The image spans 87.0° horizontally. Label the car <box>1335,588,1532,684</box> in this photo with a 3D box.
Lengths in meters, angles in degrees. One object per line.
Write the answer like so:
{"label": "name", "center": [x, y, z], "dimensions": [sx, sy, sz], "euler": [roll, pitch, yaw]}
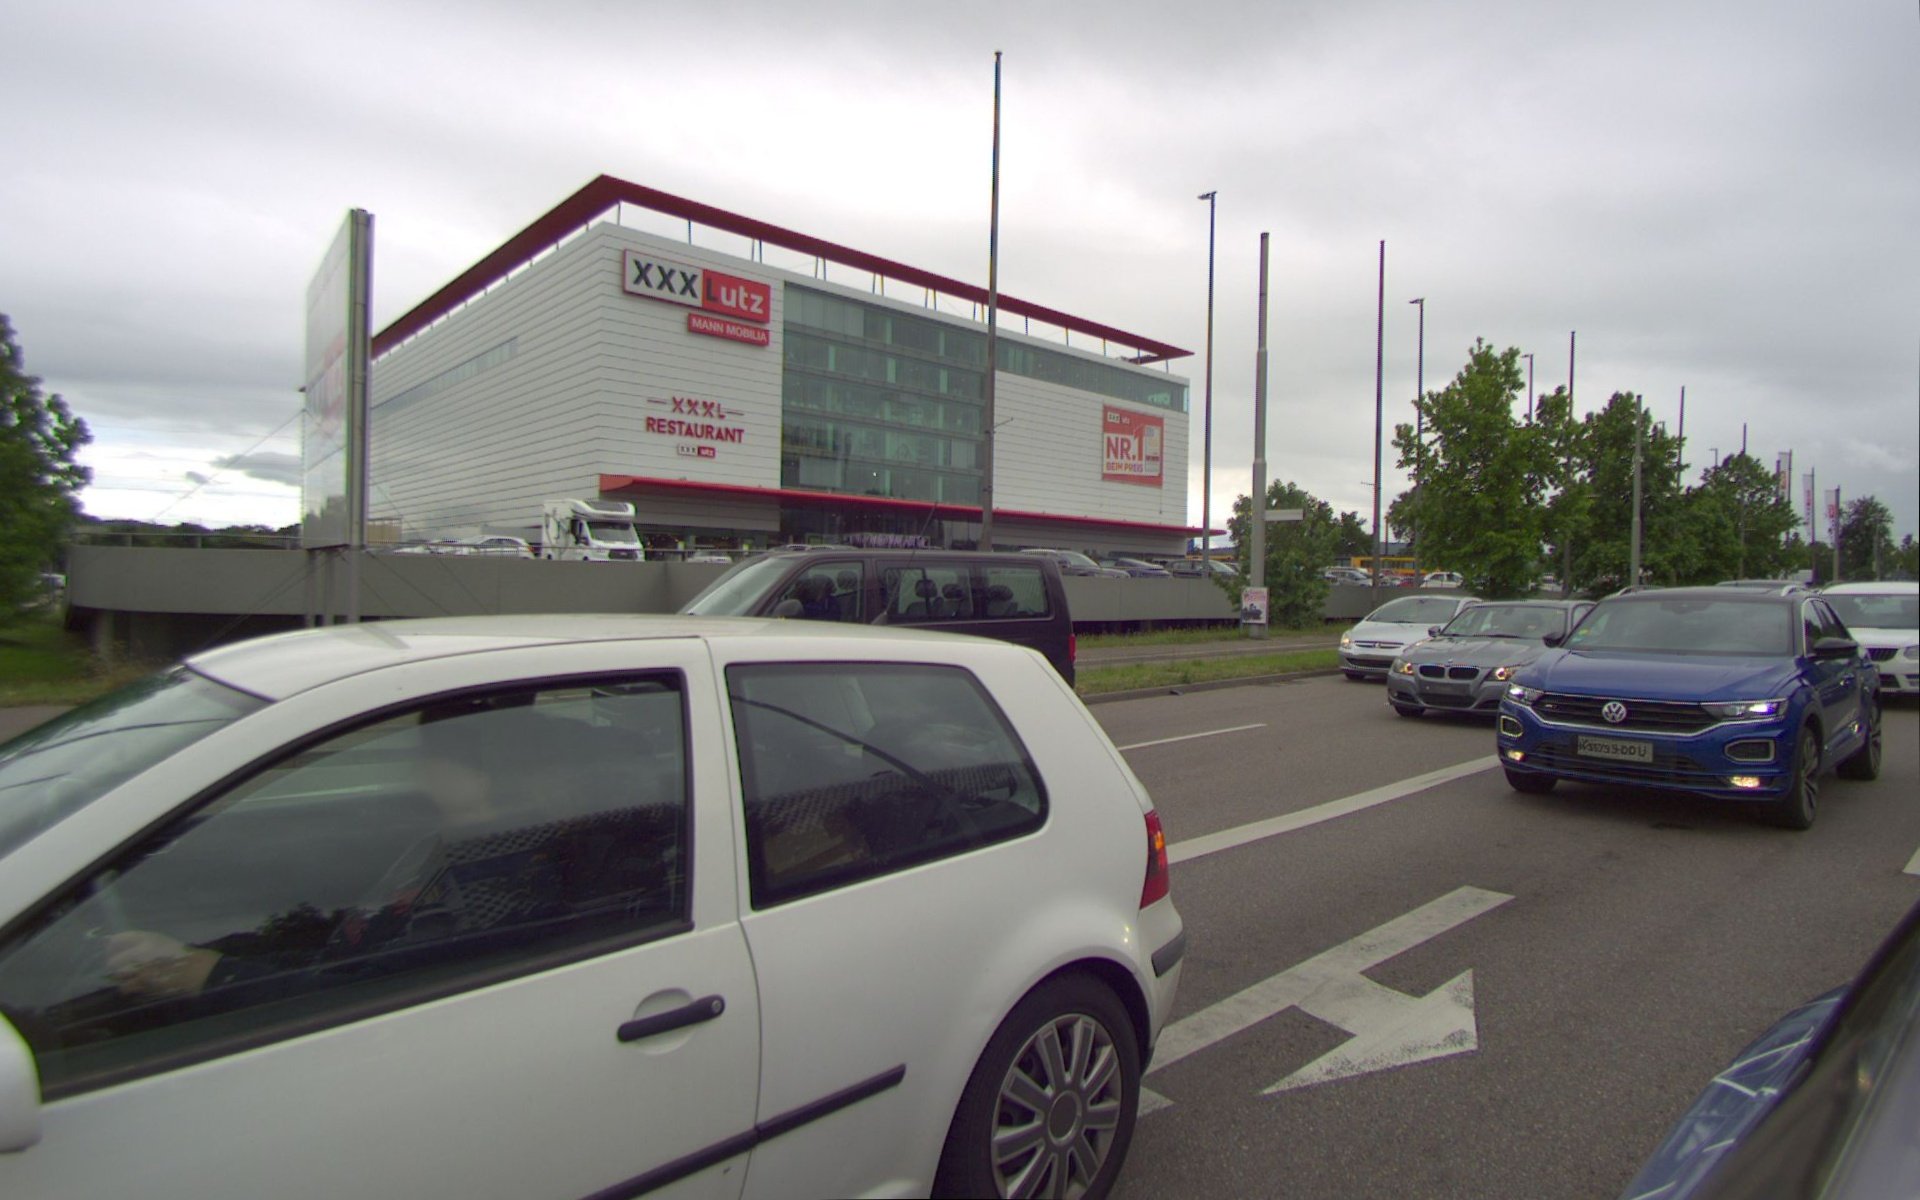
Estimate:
{"label": "car", "center": [8.068, 0.527, 17.104], "dimensions": [3.861, 1.389, 1.691], "euler": [-2, 1, -43]}

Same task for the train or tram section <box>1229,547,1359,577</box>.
{"label": "train or tram section", "center": [59.313, -6.723, 181.318], "dimensions": [3.573, 4.899, 23.227], "euler": [-1, 1, -44]}

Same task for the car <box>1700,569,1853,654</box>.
{"label": "car", "center": [17.712, 0.190, 21.889], "dimensions": [4.298, 1.645, 1.797], "euler": [-2, 0, -40]}

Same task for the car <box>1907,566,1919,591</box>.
{"label": "car", "center": [88.115, -1.935, 92.592], "dimensions": [3.934, 2.270, 1.995], "euler": [0, 1, -44]}

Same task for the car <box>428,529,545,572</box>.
{"label": "car", "center": [-20.084, -2.062, 43.021], "dimensions": [4.186, 1.697, 1.774], "euler": [-2, 0, -41]}

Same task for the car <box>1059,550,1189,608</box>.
{"label": "car", "center": [5.554, -0.680, 34.560], "dimensions": [1.967, 1.872, 3.990], "euler": [-1, 0, -43]}

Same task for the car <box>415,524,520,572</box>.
{"label": "car", "center": [-22.281, -2.320, 45.846], "dimensions": [3.929, 2.039, 1.997], "euler": [-2, 0, -40]}

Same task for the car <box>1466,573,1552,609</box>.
{"label": "car", "center": [32.226, -0.504, 59.501], "dimensions": [1.966, 2.039, 3.993], "euler": [-1, 0, -41]}

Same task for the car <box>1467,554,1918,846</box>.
{"label": "car", "center": [5.783, 0.520, 7.779], "dimensions": [4.256, 1.642, 1.845], "euler": [-2, 0, -40]}

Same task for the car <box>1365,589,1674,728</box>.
{"label": "car", "center": [7.138, 0.627, 12.691], "dimensions": [4.790, 1.429, 1.815], "euler": [1, -1, -40]}

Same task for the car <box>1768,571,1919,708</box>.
{"label": "car", "center": [12.861, 0.438, 14.025], "dimensions": [4.298, 1.645, 1.797], "euler": [-2, 0, -40]}

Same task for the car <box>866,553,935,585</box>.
{"label": "car", "center": [-3.554, -1.815, 60.210], "dimensions": [1.967, 1.761, 3.990], "euler": [-1, 0, -43]}

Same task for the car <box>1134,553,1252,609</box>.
{"label": "car", "center": [8.856, -0.702, 38.690], "dimensions": [1.967, 2.039, 3.991], "euler": [-1, 0, -43]}

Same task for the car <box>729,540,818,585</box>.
{"label": "car", "center": [-8.982, -1.782, 48.681], "dimensions": [4.093, 2.039, 2.004], "euler": [-1, 0, -13]}

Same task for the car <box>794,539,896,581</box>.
{"label": "car", "center": [-4.468, -1.507, 38.942], "dimensions": [1.839, 1.455, 3.983], "euler": [-1, 1, -44]}

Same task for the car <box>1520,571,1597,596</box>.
{"label": "car", "center": [39.163, -1.058, 66.272], "dimensions": [1.765, 1.585, 3.993], "euler": [-1, 0, -41]}

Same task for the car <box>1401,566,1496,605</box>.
{"label": "car", "center": [26.834, -0.764, 55.690], "dimensions": [1.967, 2.039, 4.317], "euler": [-1, 0, -43]}

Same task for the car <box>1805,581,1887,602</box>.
{"label": "car", "center": [63.117, -0.596, 72.177], "dimensions": [1.772, 1.433, 4.211], "euler": [-1, 1, -41]}

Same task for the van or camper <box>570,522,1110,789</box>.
{"label": "van or camper", "center": [-1.059, 0.369, 10.014], "dimensions": [4.850, 2.039, 2.164], "euler": [-2, 0, -35]}

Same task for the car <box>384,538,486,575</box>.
{"label": "car", "center": [-25.982, -2.144, 50.184], "dimensions": [4.186, 1.697, 1.774], "euler": [-2, 0, -41]}

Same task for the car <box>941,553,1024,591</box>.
{"label": "car", "center": [1.114, -1.400, 51.006], "dimensions": [1.967, 1.761, 3.990], "euler": [-1, 0, -43]}

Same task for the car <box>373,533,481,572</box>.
{"label": "car", "center": [-24.842, -2.203, 47.256], "dimensions": [4.186, 1.697, 1.774], "euler": [-2, 0, -41]}

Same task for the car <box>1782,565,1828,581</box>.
{"label": "car", "center": [115.207, -3.730, 138.001], "dimensions": [4.686, 2.039, 1.972], "euler": [-1, 0, 39]}

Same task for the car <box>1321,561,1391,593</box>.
{"label": "car", "center": [26.991, -1.533, 69.002], "dimensions": [1.967, 2.039, 3.991], "euler": [-1, 0, -43]}

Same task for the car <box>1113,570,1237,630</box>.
{"label": "car", "center": [7.718, 0.006, 36.544], "dimensions": [1.967, 2.039, 3.991], "euler": [-1, 0, -43]}

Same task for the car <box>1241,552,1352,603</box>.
{"label": "car", "center": [14.284, -0.922, 43.097], "dimensions": [1.967, 2.039, 3.991], "euler": [-1, 0, -43]}

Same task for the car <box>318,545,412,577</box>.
{"label": "car", "center": [-32.629, -2.120, 55.526], "dimensions": [4.186, 1.697, 1.774], "euler": [-2, 0, -41]}

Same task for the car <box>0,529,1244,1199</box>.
{"label": "car", "center": [-1.335, 0.667, 2.071], "dimensions": [3.936, 1.496, 1.835], "euler": [-2, 1, -41]}

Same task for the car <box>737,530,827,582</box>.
{"label": "car", "center": [-7.473, -1.797, 42.328], "dimensions": [1.839, 1.972, 3.858], "euler": [-1, 0, -44]}

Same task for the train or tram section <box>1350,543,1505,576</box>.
{"label": "train or tram section", "center": [75.418, -6.455, 164.503], "dimensions": [3.573, 4.899, 23.227], "euler": [-1, 1, -44]}

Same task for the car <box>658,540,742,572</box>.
{"label": "car", "center": [-14.566, -2.441, 56.842], "dimensions": [4.186, 1.697, 1.774], "euler": [-2, 0, -41]}

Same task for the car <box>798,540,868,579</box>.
{"label": "car", "center": [-7.208, -2.247, 57.256], "dimensions": [1.967, 2.039, 3.991], "euler": [-1, 0, -43]}

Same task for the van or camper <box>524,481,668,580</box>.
{"label": "van or camper", "center": [-13.708, -2.423, 37.737], "dimensions": [2.667, 3.175, 7.224], "euler": [-1, 0, -40]}

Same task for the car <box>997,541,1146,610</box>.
{"label": "car", "center": [3.504, -0.730, 32.448], "dimensions": [1.967, 2.039, 4.521], "euler": [-1, 0, -43]}

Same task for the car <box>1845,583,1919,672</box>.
{"label": "car", "center": [17.359, 0.426, 18.074], "dimensions": [4.146, 1.433, 1.799], "euler": [-2, 1, -41]}

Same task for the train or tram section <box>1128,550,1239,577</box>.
{"label": "train or tram section", "center": [43.314, -7.108, 198.011], "dimensions": [3.573, 4.899, 23.227], "euler": [-1, 1, -44]}
